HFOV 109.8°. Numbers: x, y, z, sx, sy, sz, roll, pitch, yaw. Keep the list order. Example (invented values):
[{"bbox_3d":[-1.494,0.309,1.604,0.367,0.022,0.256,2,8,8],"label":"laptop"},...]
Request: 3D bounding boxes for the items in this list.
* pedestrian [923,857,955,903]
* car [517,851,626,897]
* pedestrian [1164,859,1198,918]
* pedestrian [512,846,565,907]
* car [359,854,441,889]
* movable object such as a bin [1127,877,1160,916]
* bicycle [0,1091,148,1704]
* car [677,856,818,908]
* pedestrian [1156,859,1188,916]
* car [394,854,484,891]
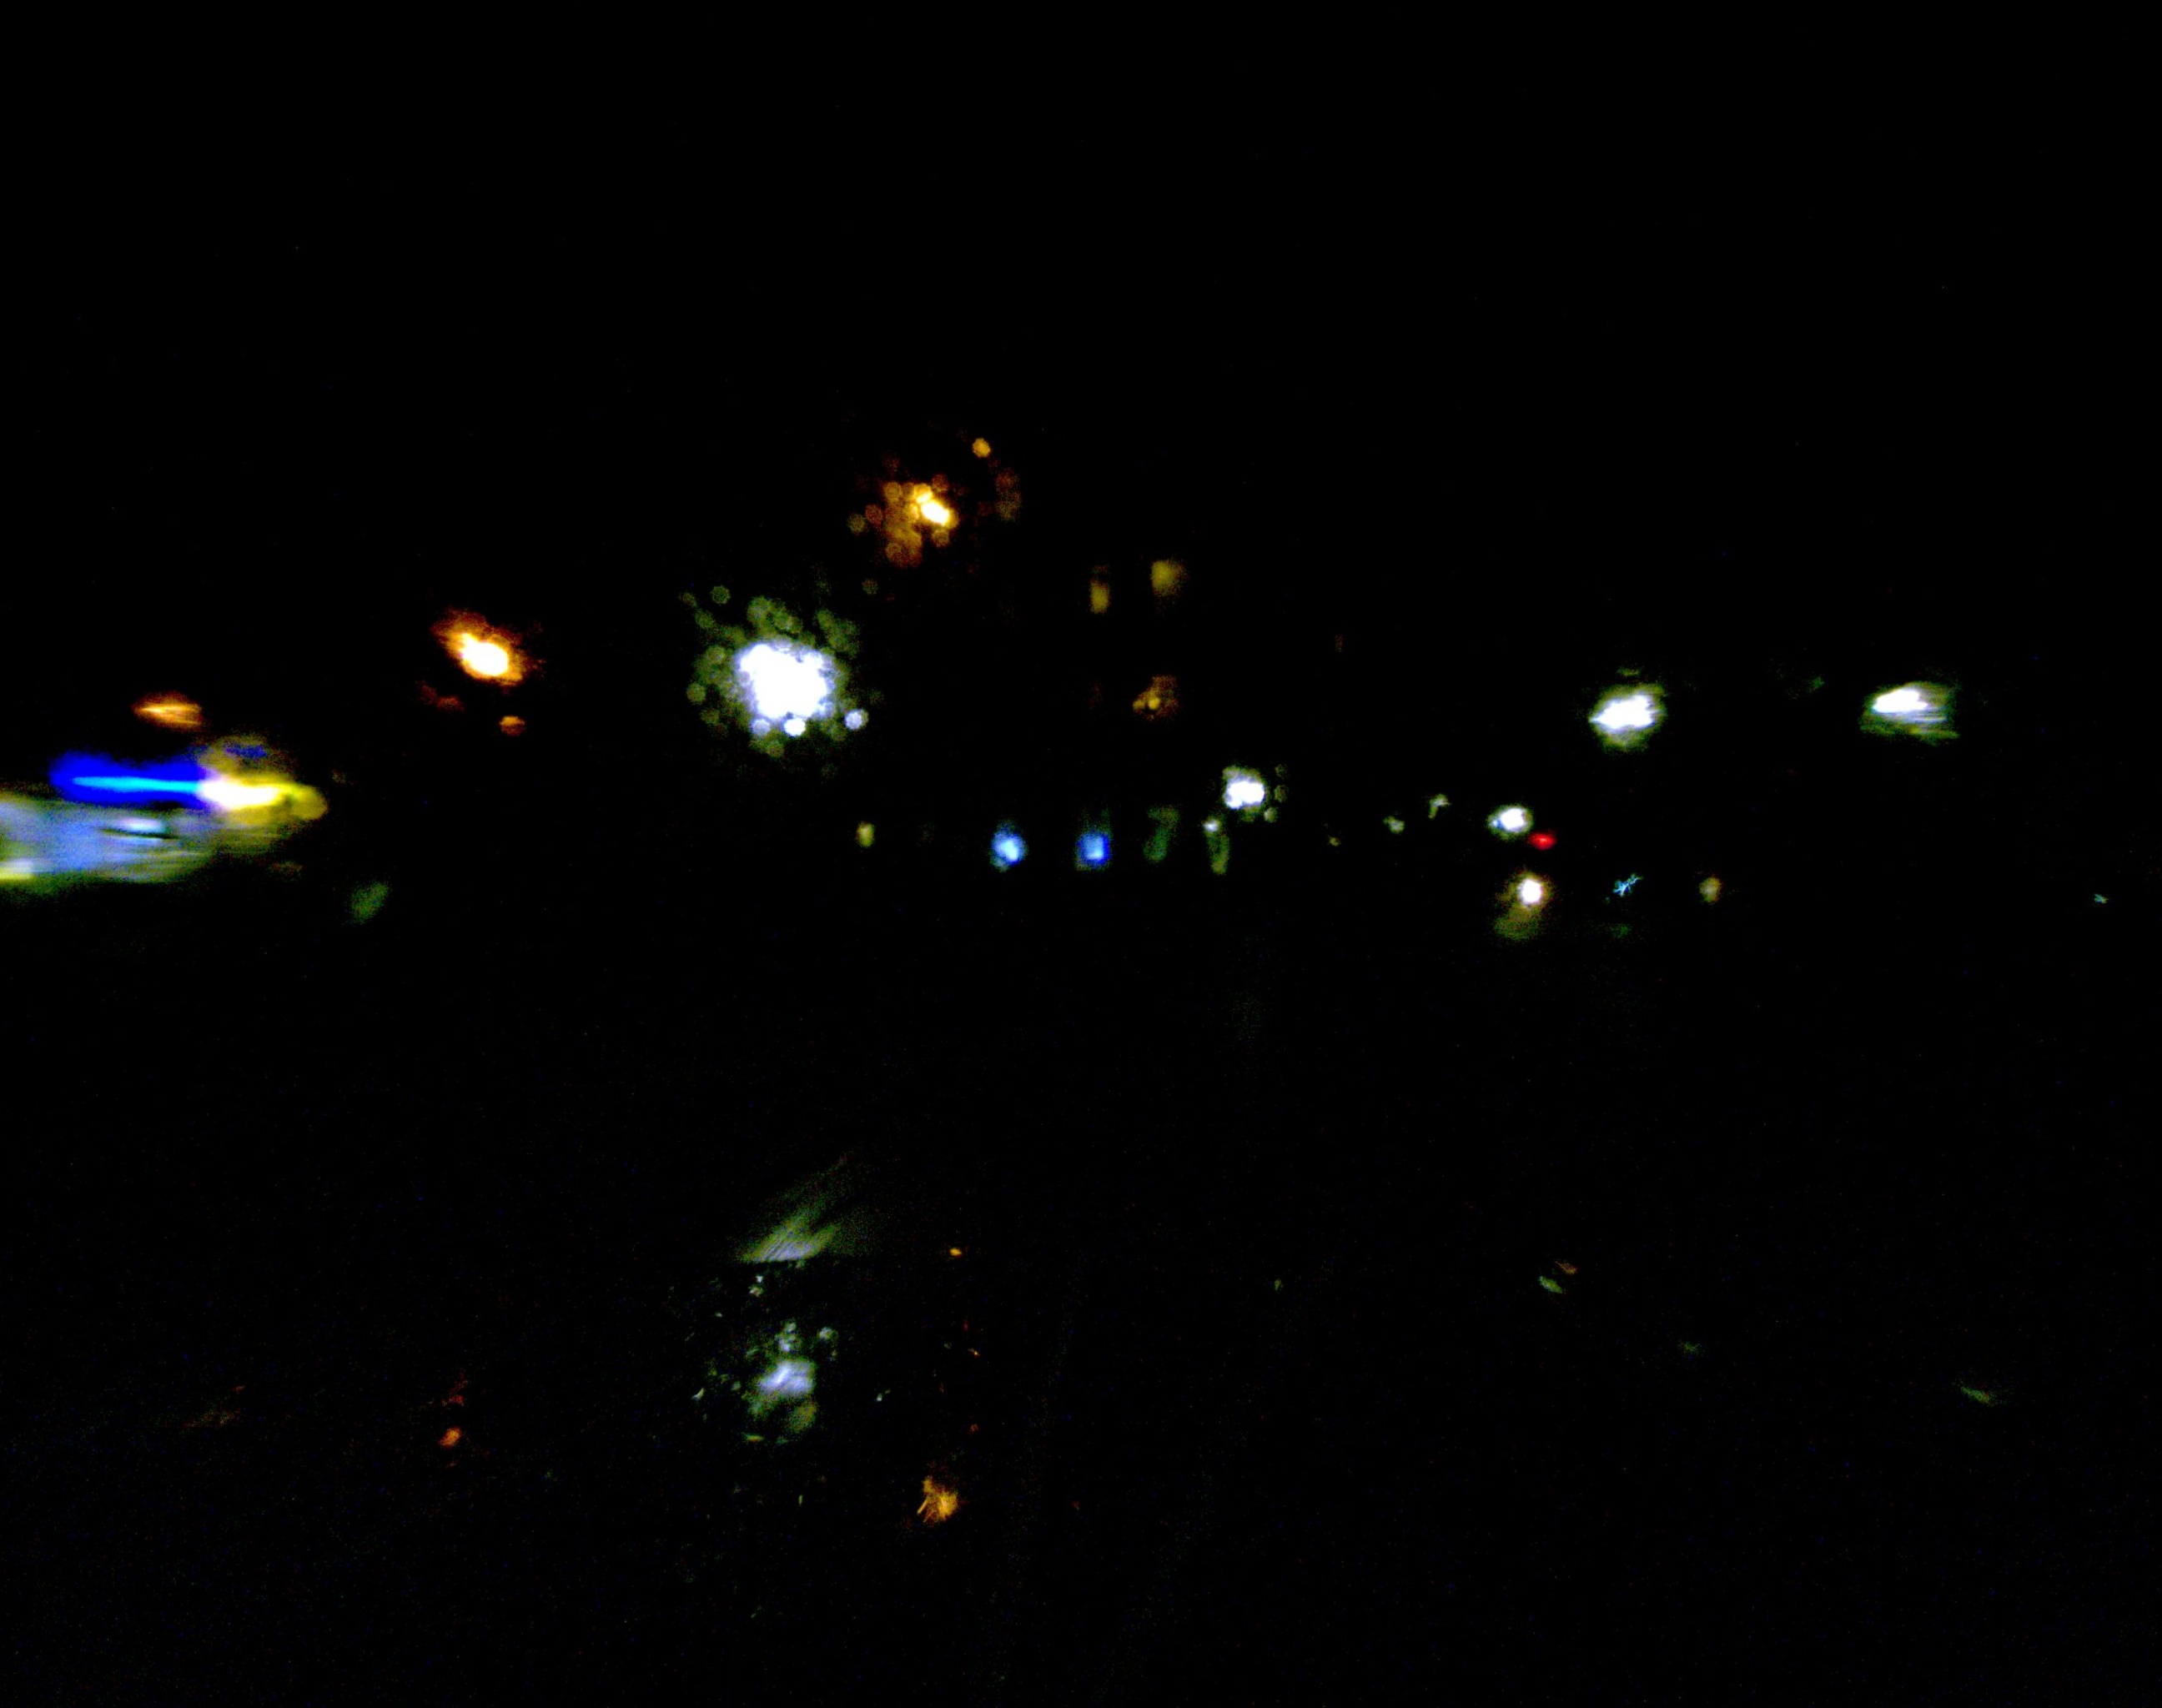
[{"bbox_3d":[-4.725,0.854,25.345,0.766,1.485,0.635,-1,1,29],"label":"pedestrian"},{"bbox_3d":[-20.512,0.749,30.548,4.275,1.694,1.885,0,1,29],"label":"car"},{"bbox_3d":[2.851,0.967,21.649,0.873,1.628,0.634,-2,1,3],"label":"pedestrian"},{"bbox_3d":[-15.932,0.664,22.333,0.688,1.752,1.044,-1,-1,19],"label":"pedestrian"},{"bbox_3d":[-33.215,0.834,37.039,3.939,1.600,1.752,0,1,29],"label":"car"},{"bbox_3d":[1.846,1.248,22.399,0.922,1.109,0.634,-2,1,3],"label":"movable object such as a bin"},{"bbox_3d":[-2.820,1.056,1.238,1.625,1.076,0.564,0,3,-11],"label":"bicycle"},{"bbox_3d":[-11.229,0.880,25.549,4.484,1.584,1.892,0,1,27],"label":"car"},{"bbox_3d":[2.662,0.972,22.344,0.842,1.628,0.634,-2,1,3],"label":"pedestrian"},{"bbox_3d":[-29.533,0.814,34.956,4.195,1.586,1.769,0,1,29],"label":"car"}]
